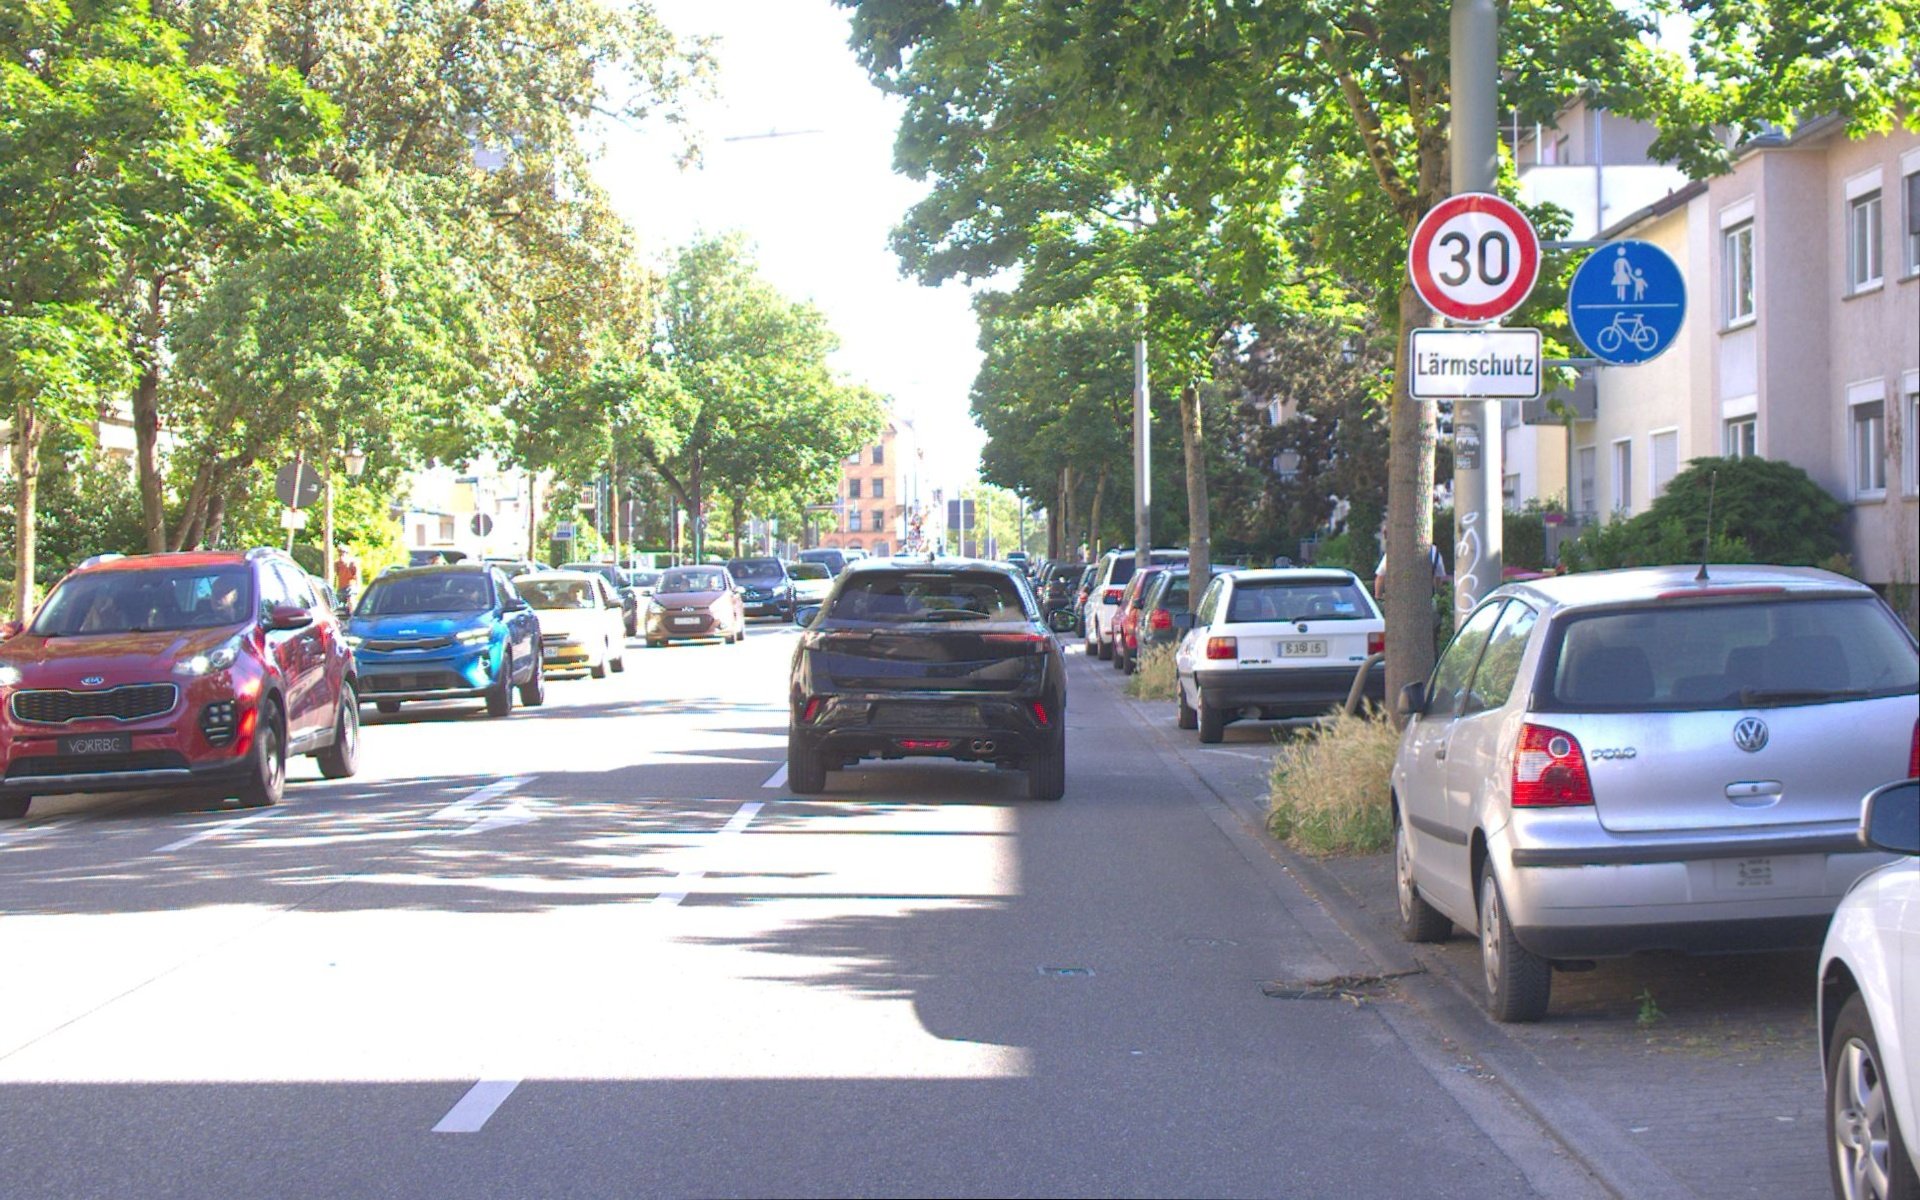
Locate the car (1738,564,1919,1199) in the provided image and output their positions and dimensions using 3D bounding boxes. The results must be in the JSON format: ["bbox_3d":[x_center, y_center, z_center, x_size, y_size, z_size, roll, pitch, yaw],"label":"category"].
[{"bbox_3d":[2.645,0.665,5.791,1.739,1.477,4.196,-1,0,1],"label":"car"}]

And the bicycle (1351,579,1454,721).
[{"bbox_3d":[4.060,0.440,31.668,0.698,1.242,1.822,-1,1,0],"label":"bicycle"}]

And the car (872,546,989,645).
[{"bbox_3d":[-0.452,-0.103,56.799,1.830,1.573,3.839,0,1,1],"label":"car"}]

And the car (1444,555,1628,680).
[{"bbox_3d":[6.837,0.175,41.130,1.532,1.351,3.718,-3,1,0],"label":"car"}]

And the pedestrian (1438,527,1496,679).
[{"bbox_3d":[5.631,0.030,38.198,0.538,1.671,0.493,-1,0,1],"label":"pedestrian"}]

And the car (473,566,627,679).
[{"bbox_3d":[-5.476,0.274,46.281,1.634,1.398,3.736,-2,1,-1],"label":"car"}]

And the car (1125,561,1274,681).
[{"bbox_3d":[2.827,0.216,41.206,1.532,1.351,3.718,-1,1,0],"label":"car"}]

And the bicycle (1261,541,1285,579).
[{"bbox_3d":[10.927,-1.403,120.148,0.623,1.283,1.842,-3,1,1],"label":"bicycle"}]

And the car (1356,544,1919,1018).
[{"bbox_3d":[2.473,0.546,12.686,1.567,1.452,3.865,-1,0,0],"label":"car"}]

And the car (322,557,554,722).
[{"bbox_3d":[-5.255,0.360,35.075,1.655,1.512,4.076,-3,1,0],"label":"car"}]

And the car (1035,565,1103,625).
[{"bbox_3d":[2.666,-0.150,84.624,1.586,1.391,4.454,-2,1,1],"label":"car"}]

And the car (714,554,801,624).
[{"bbox_3d":[-4.968,-0.303,84.868,1.836,1.608,4.401,-2,1,0],"label":"car"}]

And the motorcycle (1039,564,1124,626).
[{"bbox_3d":[2.577,-0.106,73.261,0.697,1.267,2.432,-2,1,-27],"label":"motorcycle"}]

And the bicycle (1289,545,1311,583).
[{"bbox_3d":[11.869,-1.269,120.051,0.591,1.283,1.689,-3,1,1],"label":"bicycle"}]

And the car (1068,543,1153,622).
[{"bbox_3d":[2.974,-0.362,68.291,1.620,1.494,3.649,-1,1,2],"label":"car"}]

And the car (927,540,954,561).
[{"bbox_3d":[-1.378,-3.433,239.298,1.771,1.447,3.886,0,1,-2],"label":"car"}]

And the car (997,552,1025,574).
[{"bbox_3d":[3.821,-2.768,257.406,1.994,1.514,4.000,2,0,2],"label":"car"}]

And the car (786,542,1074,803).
[{"bbox_3d":[-0.176,0.433,22.958,1.745,1.568,3.558,1,0,0],"label":"car"}]

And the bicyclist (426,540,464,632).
[{"bbox_3d":[-9.875,-0.264,65.901,0.608,1.748,0.691,0,0,1],"label":"bicyclist"}]

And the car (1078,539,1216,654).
[{"bbox_3d":[2.831,-0.080,52.808,1.769,1.653,4.341,-1,1,-1],"label":"car"}]

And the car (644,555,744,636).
[{"bbox_3d":[-4.978,-0.099,64.672,1.581,1.446,3.745,-1,1,-1],"label":"car"}]

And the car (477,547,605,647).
[{"bbox_3d":[-7.066,-0.077,58.284,1.624,1.583,4.348,2,1,0],"label":"car"}]

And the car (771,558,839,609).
[{"bbox_3d":[-4.529,-0.505,100.854,1.733,1.408,4.192,-2,1,0],"label":"car"}]

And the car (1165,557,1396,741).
[{"bbox_3d":[2.649,0.362,29.124,1.649,1.398,3.970,-2,1,2],"label":"car"}]

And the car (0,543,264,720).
[{"bbox_3d":[-8.088,0.262,33.563,1.670,1.599,4.394,1,1,0],"label":"car"}]

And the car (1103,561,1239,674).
[{"bbox_3d":[2.797,0.204,46.163,1.531,1.444,3.718,-1,1,-1],"label":"car"}]

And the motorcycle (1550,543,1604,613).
[{"bbox_3d":[12.281,-0.443,68.506,0.636,1.371,2.426,-1,1,0],"label":"motorcycle"}]

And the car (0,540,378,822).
[{"bbox_3d":[-5.151,0.456,22.709,1.721,1.611,4.299,-3,1,1],"label":"car"}]

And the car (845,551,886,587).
[{"bbox_3d":[-4.562,-1.514,166.549,1.806,1.642,4.673,-2,1,0],"label":"car"}]

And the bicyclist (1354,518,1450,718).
[{"bbox_3d":[4.059,0.157,31.630,0.724,1.787,1.015,-1,1,0],"label":"bicyclist"}]
